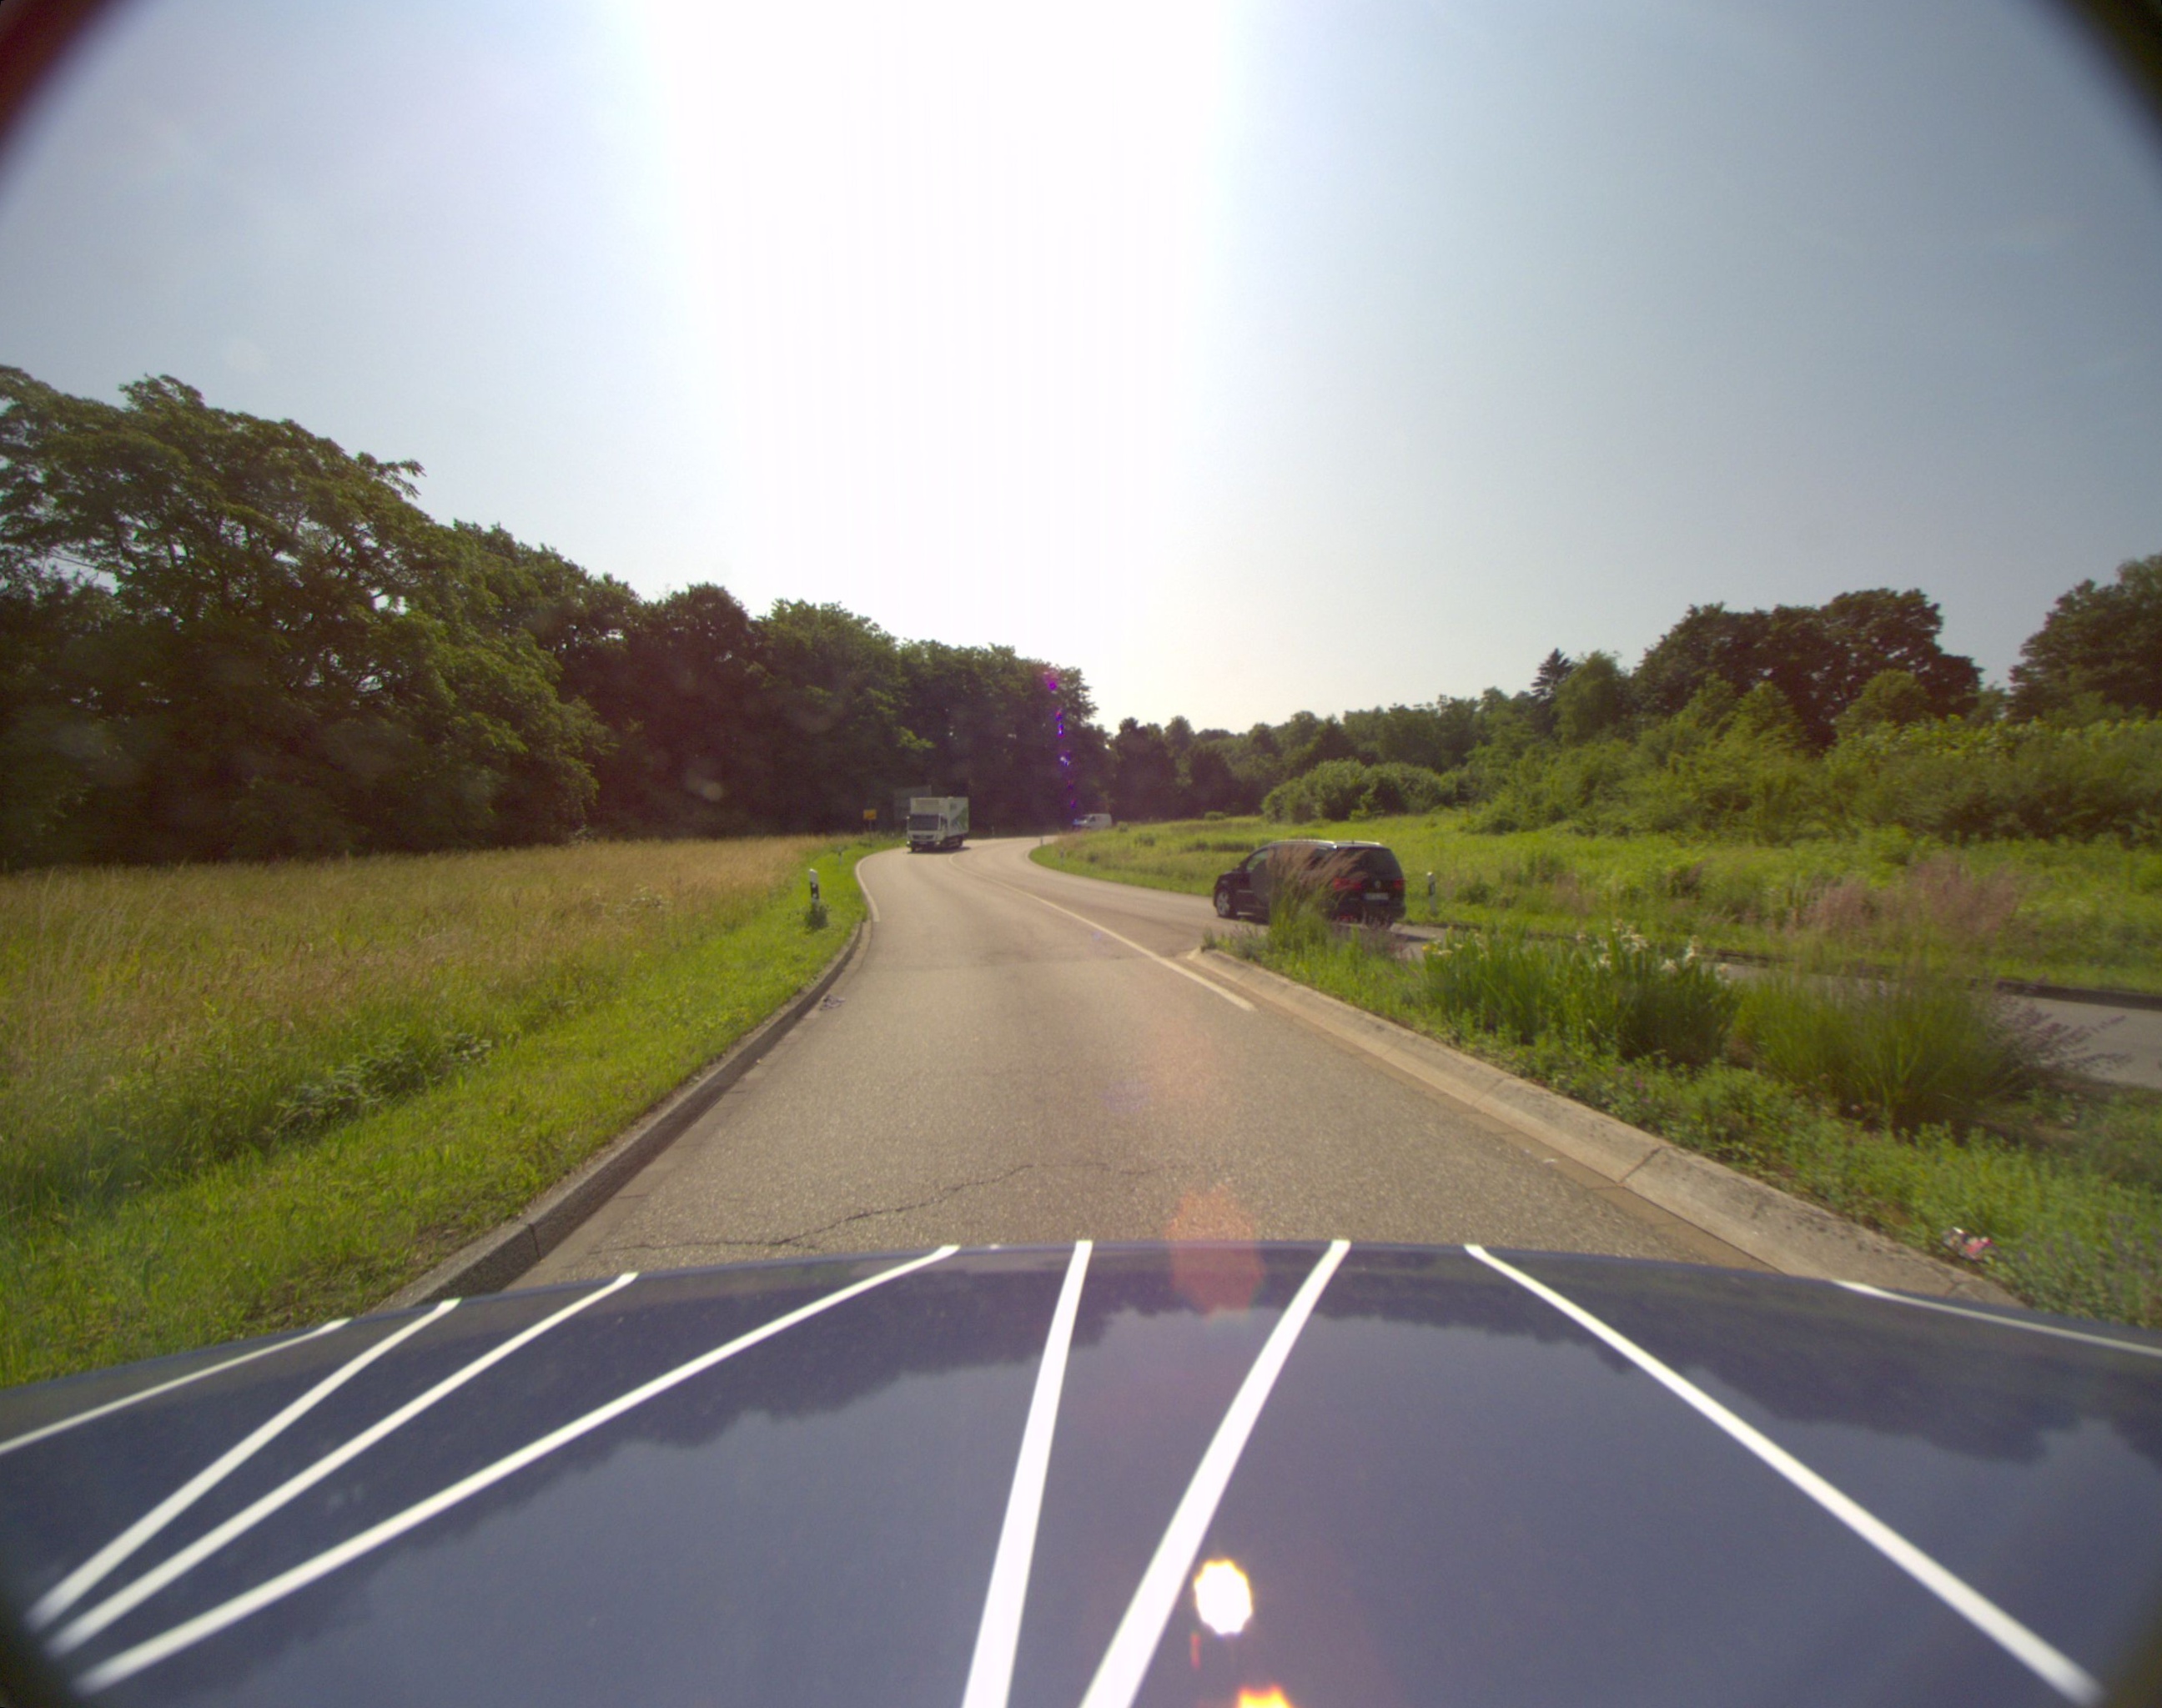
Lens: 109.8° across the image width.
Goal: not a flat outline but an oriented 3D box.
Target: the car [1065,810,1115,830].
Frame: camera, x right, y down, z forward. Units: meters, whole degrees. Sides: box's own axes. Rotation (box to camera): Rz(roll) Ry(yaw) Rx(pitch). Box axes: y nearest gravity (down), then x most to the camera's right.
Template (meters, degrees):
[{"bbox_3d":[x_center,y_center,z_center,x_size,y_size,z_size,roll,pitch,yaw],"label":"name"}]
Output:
[{"bbox_3d":[0.999,-3.598,80.871,1.994,2.002,5.613,-1,2,43],"label":"car"}]

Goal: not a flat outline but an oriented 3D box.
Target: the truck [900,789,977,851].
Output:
[{"bbox_3d":[-9.721,-2.282,52.932,2.897,3.807,9.024,-2,1,4],"label":"truck"}]

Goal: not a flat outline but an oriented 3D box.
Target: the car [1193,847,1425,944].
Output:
[{"bbox_3d":[4.186,0.681,14.780,1.915,1.586,4.364,0,0,-25],"label":"car"}]
